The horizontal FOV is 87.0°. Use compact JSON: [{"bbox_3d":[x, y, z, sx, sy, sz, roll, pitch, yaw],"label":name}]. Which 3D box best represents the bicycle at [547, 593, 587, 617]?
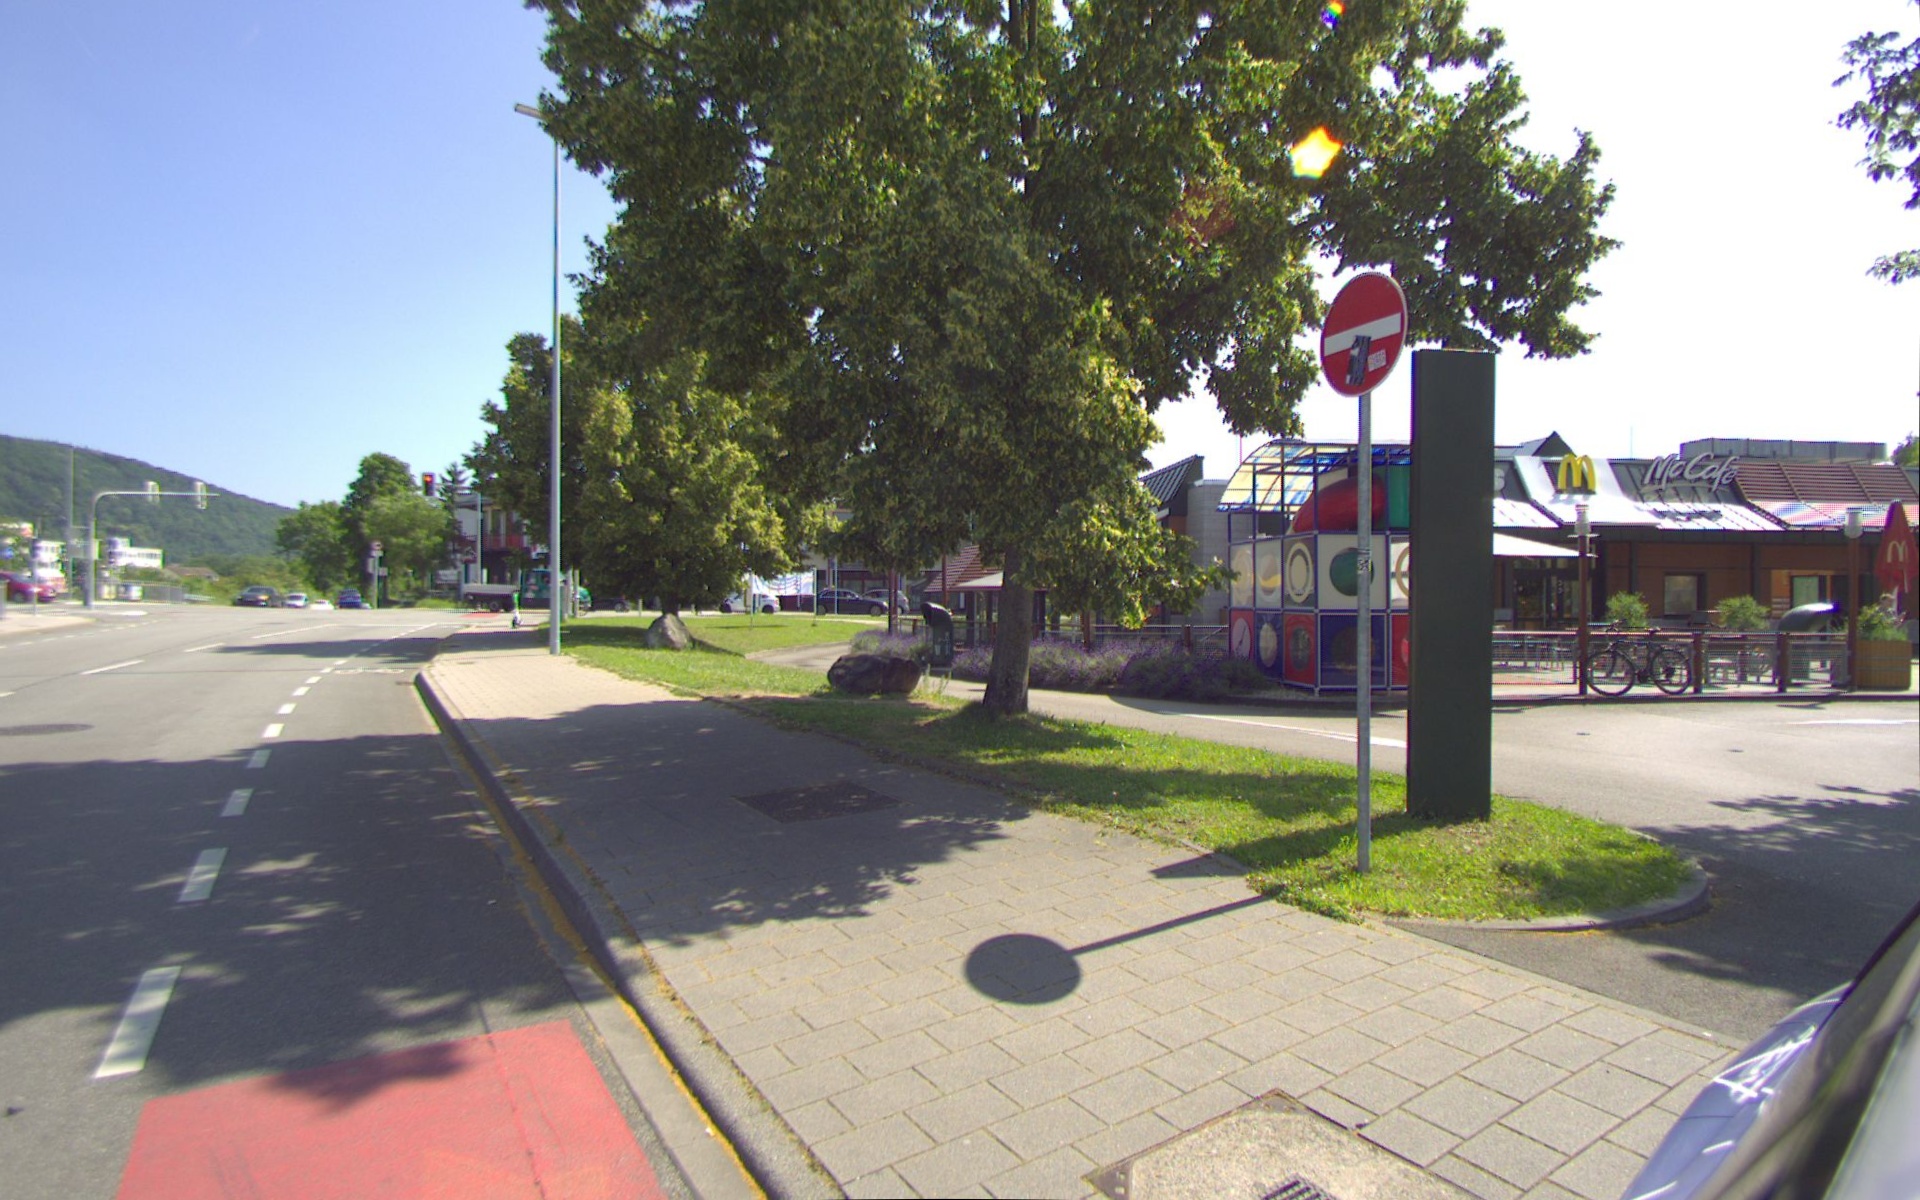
[{"bbox_3d":[-18.668,0.232,48.061,1.691,1.055,0.583,1,3,-5],"label":"bicycle"}]

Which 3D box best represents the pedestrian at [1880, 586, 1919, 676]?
[{"bbox_3d":[16.941,0.546,18.197,0.595,1.587,0.563,0,1,43],"label":"pedestrian"}]

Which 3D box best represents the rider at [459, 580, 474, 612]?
[{"bbox_3d":[-28.806,-0.248,59.069,0.672,1.835,0.549,0,3,-6],"label":"rider"}]

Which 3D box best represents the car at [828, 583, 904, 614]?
[{"bbox_3d":[-5.479,-0.096,58.757,4.282,1.646,1.835,0,3,-6],"label":"car"}]

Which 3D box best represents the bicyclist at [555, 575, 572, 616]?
[{"bbox_3d":[-18.810,-0.229,48.040,0.644,1.919,0.553,1,3,-5],"label":"bicyclist"}]

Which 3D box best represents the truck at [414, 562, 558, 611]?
[{"bbox_3d":[-24.169,-0.660,51.824,6.258,2.405,2.388,0,0,-6],"label":"truck"}]

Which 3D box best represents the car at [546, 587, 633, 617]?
[{"bbox_3d":[-20.814,0.087,56.930,4.283,1.509,1.835,0,3,-6],"label":"car"}]

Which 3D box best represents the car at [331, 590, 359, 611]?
[{"bbox_3d":[-46.463,0.042,76.416,1.580,1.555,3.683,0,1,-35],"label":"car"}]

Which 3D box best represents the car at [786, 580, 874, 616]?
[{"bbox_3d":[-6.793,-0.117,53.102,4.522,1.775,1.887,1,0,-5],"label":"car"}]

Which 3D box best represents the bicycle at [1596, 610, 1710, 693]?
[{"bbox_3d":[10.727,0.789,15.670,1.581,1.201,0.310,-2,2,-3],"label":"bicycle"}]

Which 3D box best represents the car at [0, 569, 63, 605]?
[{"bbox_3d":[-48.283,-0.655,51.036,4.281,1.699,1.835,0,3,-7],"label":"car"}]

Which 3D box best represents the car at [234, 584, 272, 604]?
[{"bbox_3d":[-47.062,-0.417,67.441,1.578,1.271,3.688,0,1,-27],"label":"car"}]

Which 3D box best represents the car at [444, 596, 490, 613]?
[{"bbox_3d":[-28.789,0.245,59.102,2.335,0.913,0.577,0,3,-6],"label":"car"}]

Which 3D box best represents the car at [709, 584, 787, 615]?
[{"bbox_3d":[-12.209,-0.036,58.468,4.283,1.646,1.835,0,3,-5],"label":"car"}]
